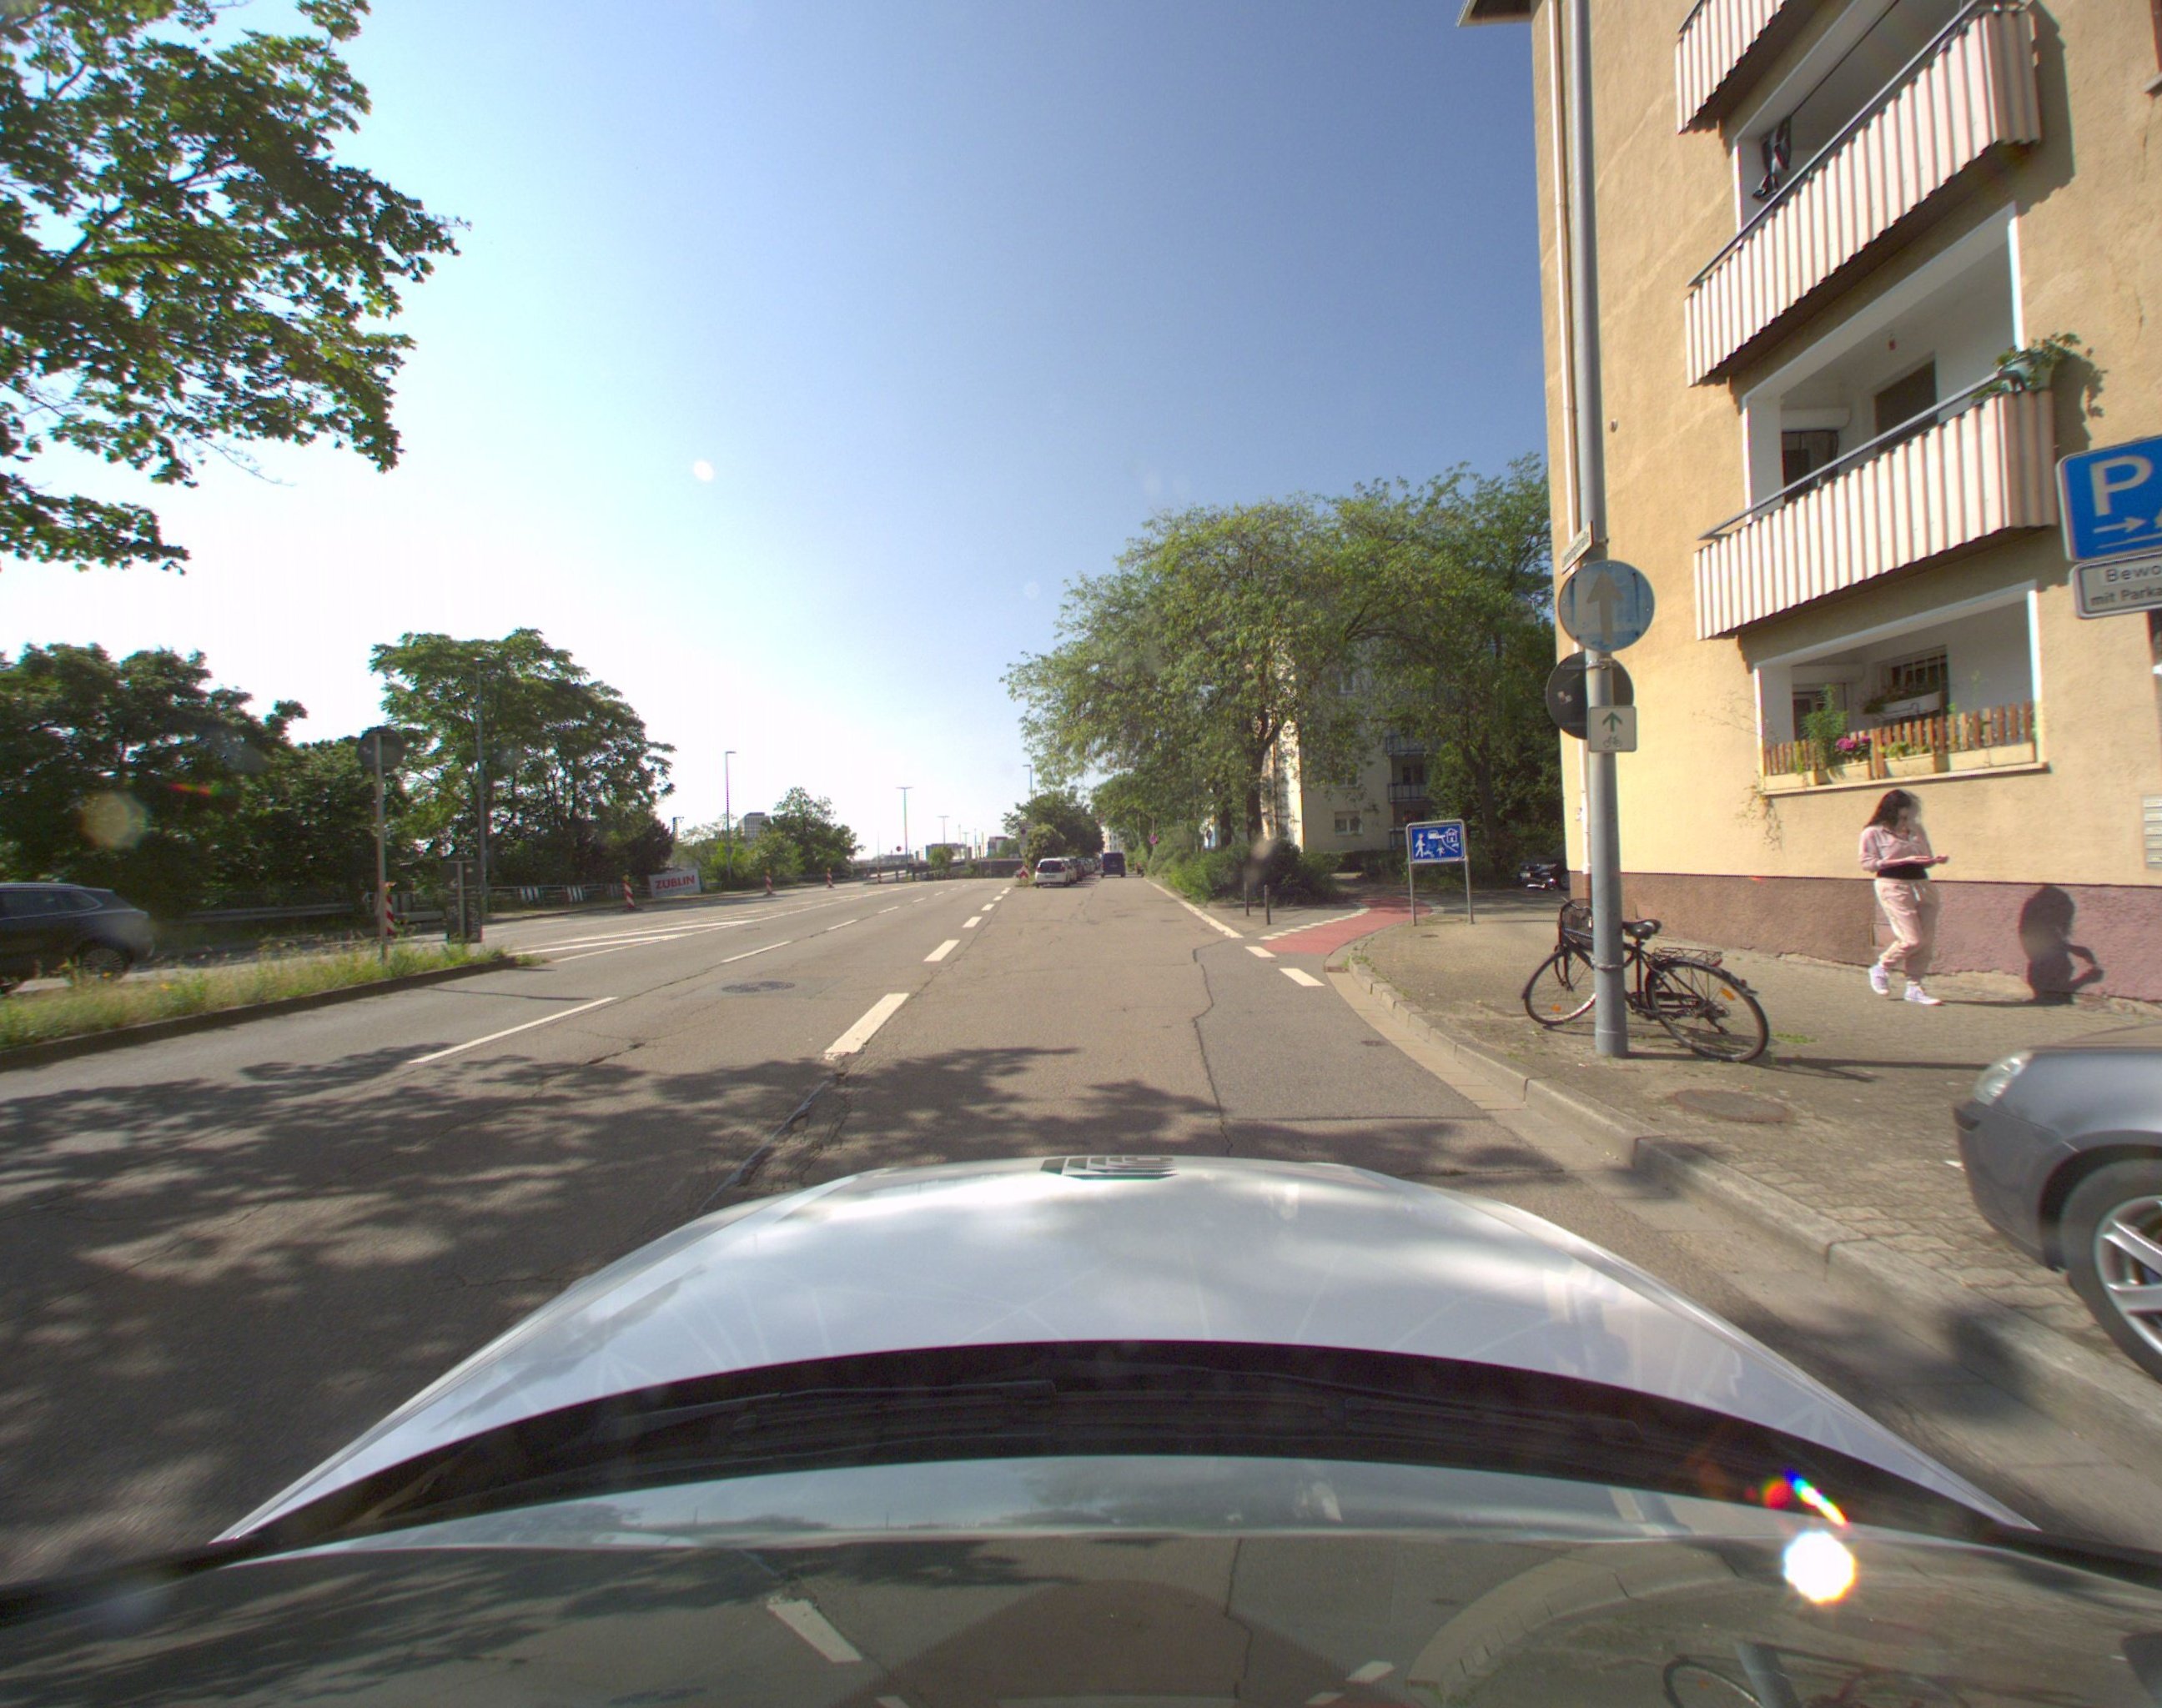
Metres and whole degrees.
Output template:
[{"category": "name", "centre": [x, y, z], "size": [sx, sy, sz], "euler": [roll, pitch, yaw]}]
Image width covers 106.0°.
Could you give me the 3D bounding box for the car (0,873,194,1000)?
[{"category": "car", "centre": [-16.064, 1.197, 11.452], "size": [1.987, 1.734, 4.728], "euler": [-1, 0, -1]}]

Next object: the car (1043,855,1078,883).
[{"category": "car", "centre": [-1.119, 0.823, 47.203], "size": [1.714, 1.505, 4.135], "euler": [1, 0, 3]}]

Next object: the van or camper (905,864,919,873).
[{"category": "van or camper", "centre": [-27.249, 2.378, 131.519], "size": [1.464, 1.350, 4.624], "euler": [-1, 0, -4]}]

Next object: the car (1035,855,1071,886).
[{"category": "car", "centre": [-1.415, 0.831, 42.502], "size": [1.613, 1.505, 3.464], "euler": [0, 0, 3]}]

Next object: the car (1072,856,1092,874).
[{"category": "car", "centre": [0.105, 1.047, 79.042], "size": [1.657, 1.583, 3.934], "euler": [-2, 0, 3]}]

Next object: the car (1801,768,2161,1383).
[{"category": "car", "centre": [3.529, 0.515, 0.916], "size": [1.699, 1.514, 4.088], "euler": [-2, 0, -2]}]

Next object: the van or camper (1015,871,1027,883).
[{"category": "van or camper", "centre": [-14.939, 5.689, 203.760], "size": [2.288, 2.789, 5.572], "euler": [-1, -1, 1]}]

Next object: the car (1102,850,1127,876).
[{"category": "car", "centre": [2.622, 0.672, 63.687], "size": [1.875, 1.921, 4.011], "euler": [1, 0, 3]}]

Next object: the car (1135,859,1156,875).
[{"category": "car", "centre": [5.915, 1.200, 75.382], "size": [1.720, 1.420, 4.002], "euler": [-3, -1, 2]}]

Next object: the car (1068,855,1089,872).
[{"category": "car", "centre": [-0.181, 0.824, 74.214], "size": [1.657, 1.512, 3.792], "euler": [1, 0, 3]}]

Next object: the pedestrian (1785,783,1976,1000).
[{"category": "pedestrian", "centre": [6.423, 0.285, 6.593], "size": [0.652, 1.609, 0.824], "euler": [-3, 0, 2]}]

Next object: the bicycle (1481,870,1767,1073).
[{"category": "bicycle", "centre": [3.605, 0.697, 5.631], "size": [0.701, 1.124, 1.743], "euler": [-2, 0, -4]}]

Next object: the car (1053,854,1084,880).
[{"category": "car", "centre": [-0.831, 0.807, 52.416], "size": [1.768, 1.579, 4.180], "euler": [-2, 0, -4]}]

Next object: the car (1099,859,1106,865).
[{"category": "car", "centre": [6.122, 2.320, 233.193], "size": [1.986, 1.657, 4.001], "euler": [-1, -1, 1]}]

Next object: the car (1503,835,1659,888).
[{"category": "car", "centre": [15.844, 0.230, 25.914], "size": [3.956, 1.548, 1.836], "euler": [-1, -1, -8]}]

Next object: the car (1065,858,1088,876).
[{"category": "car", "centre": [-0.357, 1.048, 68.377], "size": [1.657, 1.473, 3.792], "euler": [1, 0, 3]}]

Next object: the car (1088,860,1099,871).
[{"category": "car", "centre": [2.000, 1.784, 127.393], "size": [1.657, 1.509, 4.011], "euler": [1, 0, 3]}]
